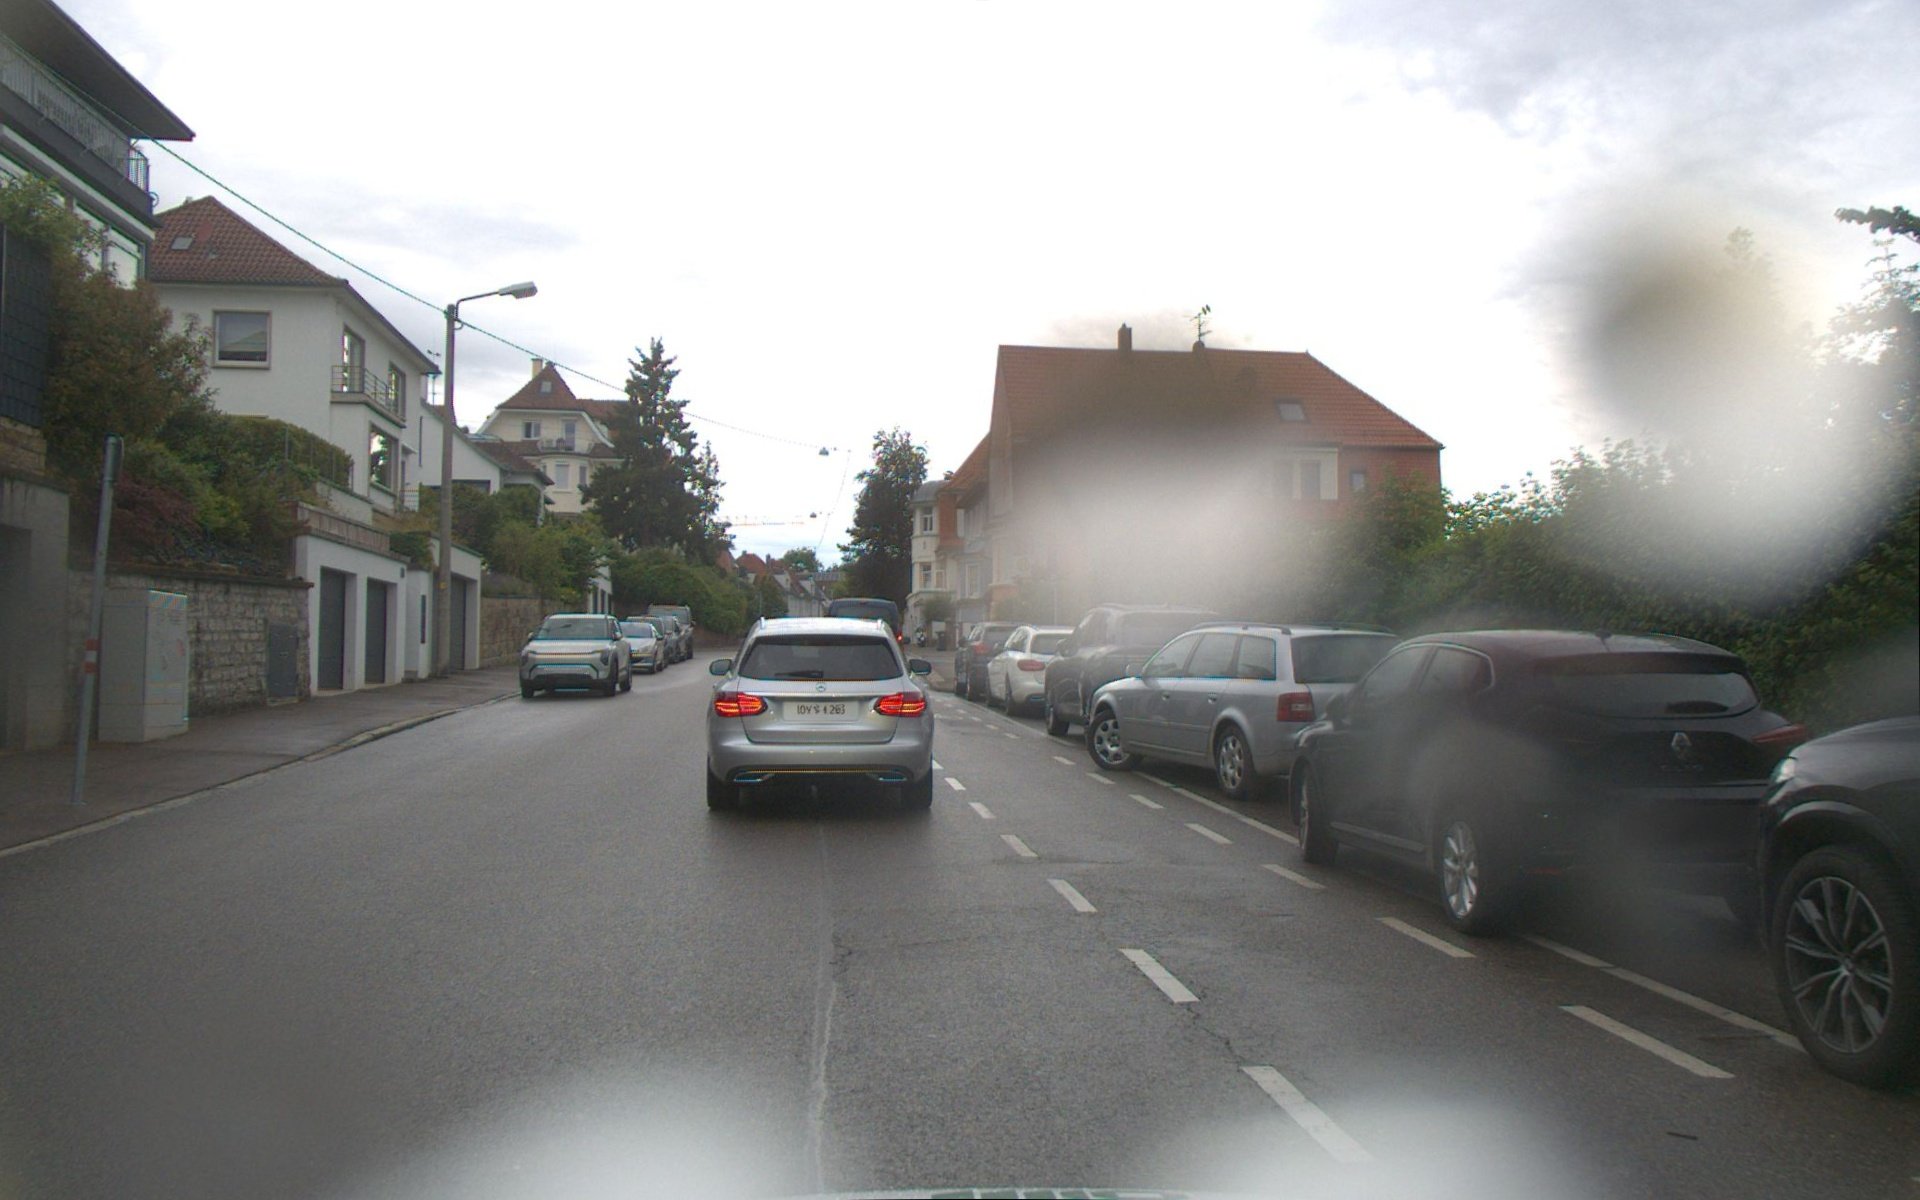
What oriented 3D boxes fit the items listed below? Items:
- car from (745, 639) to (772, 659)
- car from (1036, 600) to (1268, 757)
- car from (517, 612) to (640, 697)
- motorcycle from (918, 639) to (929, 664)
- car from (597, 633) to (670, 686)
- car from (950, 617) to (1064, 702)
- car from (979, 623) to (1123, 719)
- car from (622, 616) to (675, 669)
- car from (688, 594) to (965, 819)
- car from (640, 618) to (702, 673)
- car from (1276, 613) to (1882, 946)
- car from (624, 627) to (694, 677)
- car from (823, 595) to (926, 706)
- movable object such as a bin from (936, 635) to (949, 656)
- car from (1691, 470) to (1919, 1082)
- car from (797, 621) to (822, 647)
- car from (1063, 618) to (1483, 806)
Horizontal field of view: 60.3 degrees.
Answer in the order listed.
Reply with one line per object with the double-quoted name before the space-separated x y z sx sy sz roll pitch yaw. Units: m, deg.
"car" -16.446 3.985 134.957 2.076 1.497 4.011 2 -2 -7
"car" 2.268 0.929 20.842 1.851 1.692 4.541 3 -1 -7
"car" -7.674 1.090 33.613 1.861 1.595 4.232 1 -1 -6
"motorcycle" -1.928 2.689 87.013 0.570 1.284 2.330 0 -1 -2
"car" -9.061 1.640 46.126 1.578 1.361 3.836 2 -1 -5
"car" 0.879 1.188 33.458 1.720 1.557 4.200 2 -2 -6
"car" 1.453 1.150 27.991 1.680 1.430 4.601 2 -1 -6
"car" -9.577 1.298 50.949 1.469 1.550 3.151 2 -1 -10
"car" -1.127 0.810 13.938 1.944 1.581 4.292 1 -1 -5
"car" -10.722 1.680 61.553 2.090 1.893 5.581 3 -2 -9
"car" 3.114 0.857 9.255 1.655 1.447 3.979 1 -2 -4
"car" -10.073 1.731 55.579 1.861 1.542 4.336 3 -1 -5
"car" -1.635 0.916 31.754 1.788 1.915 4.092 -2 0 -3
"movable object such as a bin" -0.843 2.116 77.379 0.538 0.952 0.633 -1 -1 -5
"car" 3.944 0.522 3.853 1.987 1.814 4.893 1 -1 -5
"car" -14.893 3.377 163.724 2.419 2.442 3.995 -1 -1 -5
"car" 2.682 0.932 15.417 1.772 1.465 4.616 2 -1 -19
